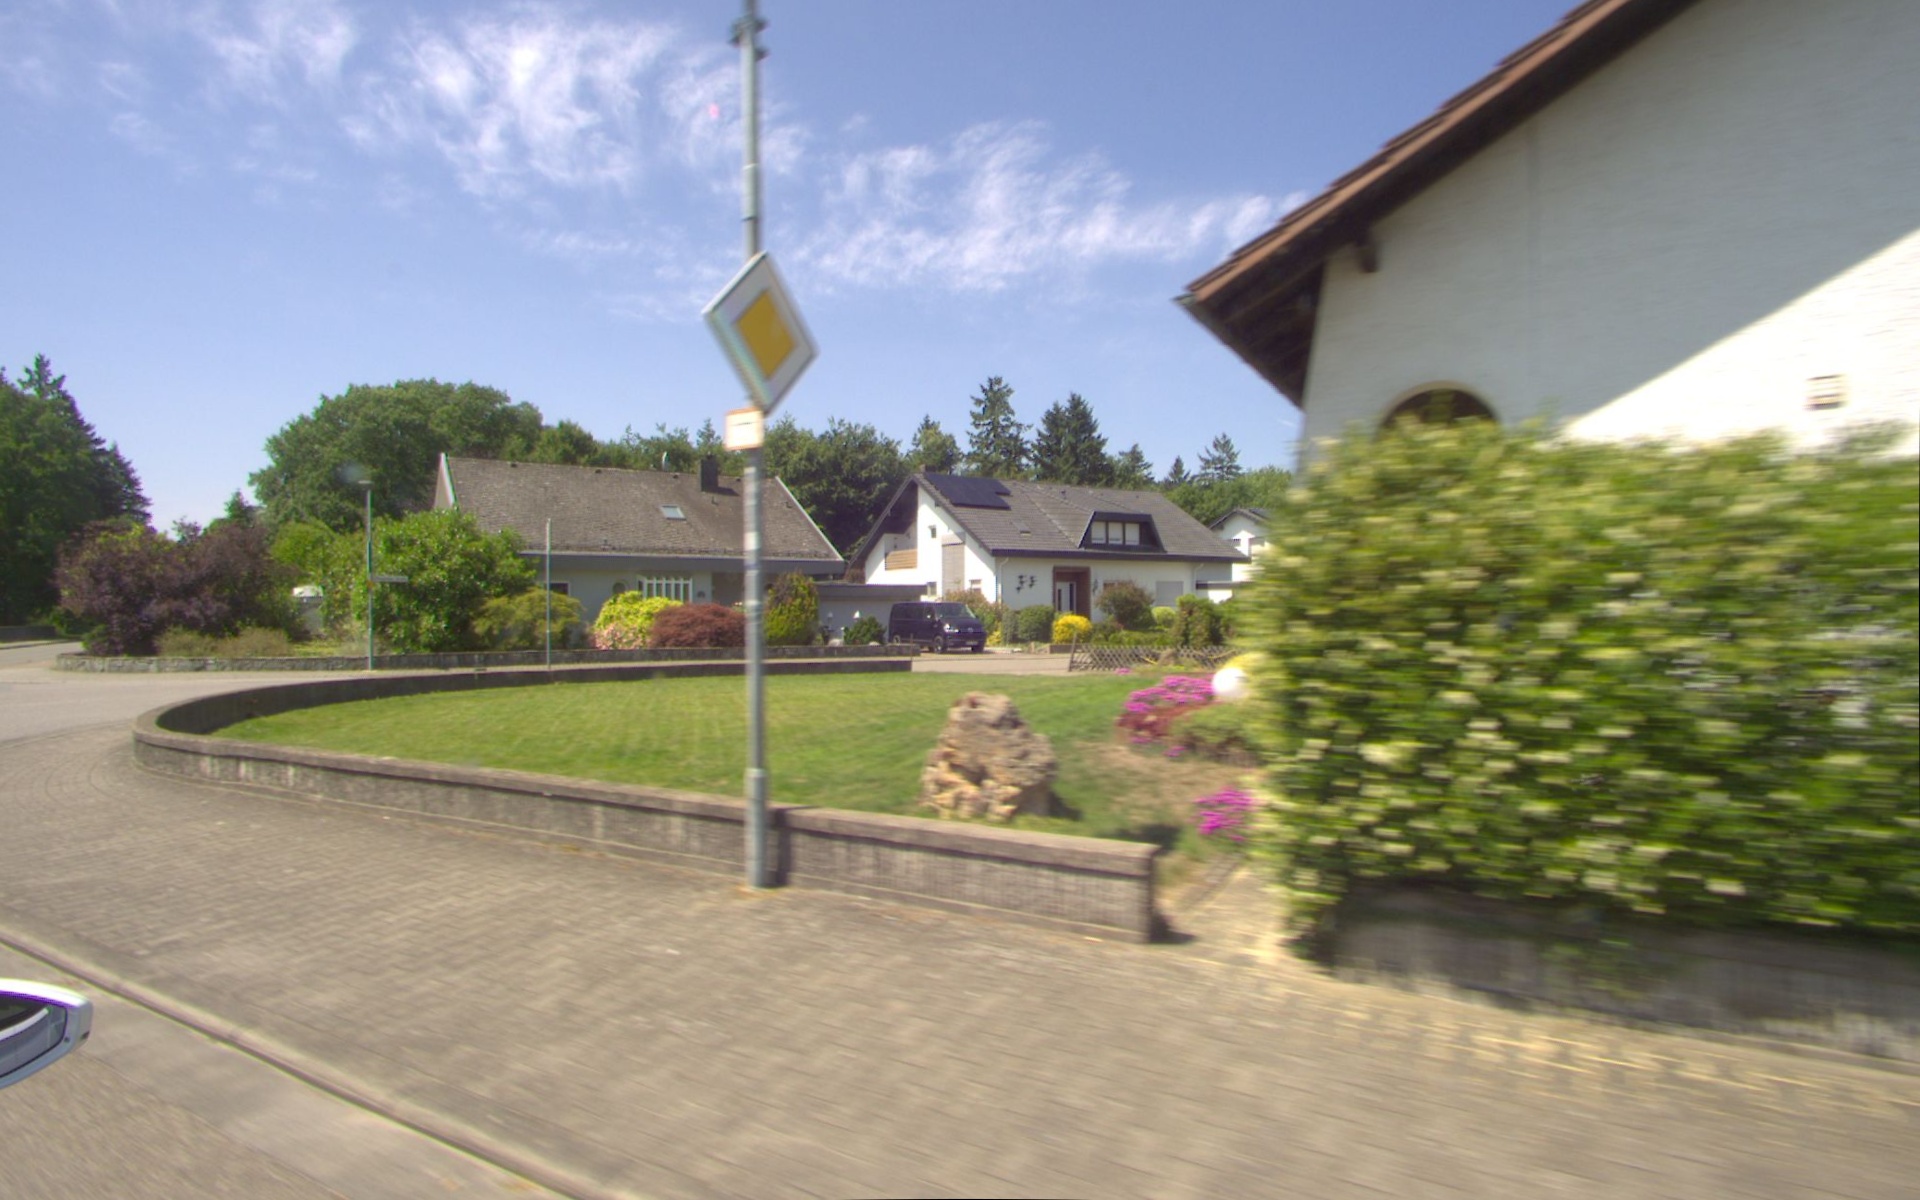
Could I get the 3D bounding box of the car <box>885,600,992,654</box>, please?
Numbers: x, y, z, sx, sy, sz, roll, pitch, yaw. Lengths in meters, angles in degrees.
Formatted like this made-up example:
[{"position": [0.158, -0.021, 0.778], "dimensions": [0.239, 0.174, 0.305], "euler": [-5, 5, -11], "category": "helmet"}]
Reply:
[{"position": [-0.916, 0.986, 38.614], "dimensions": [1.902, 1.940, 4.938], "euler": [0, -1, -32], "category": "car"}]
